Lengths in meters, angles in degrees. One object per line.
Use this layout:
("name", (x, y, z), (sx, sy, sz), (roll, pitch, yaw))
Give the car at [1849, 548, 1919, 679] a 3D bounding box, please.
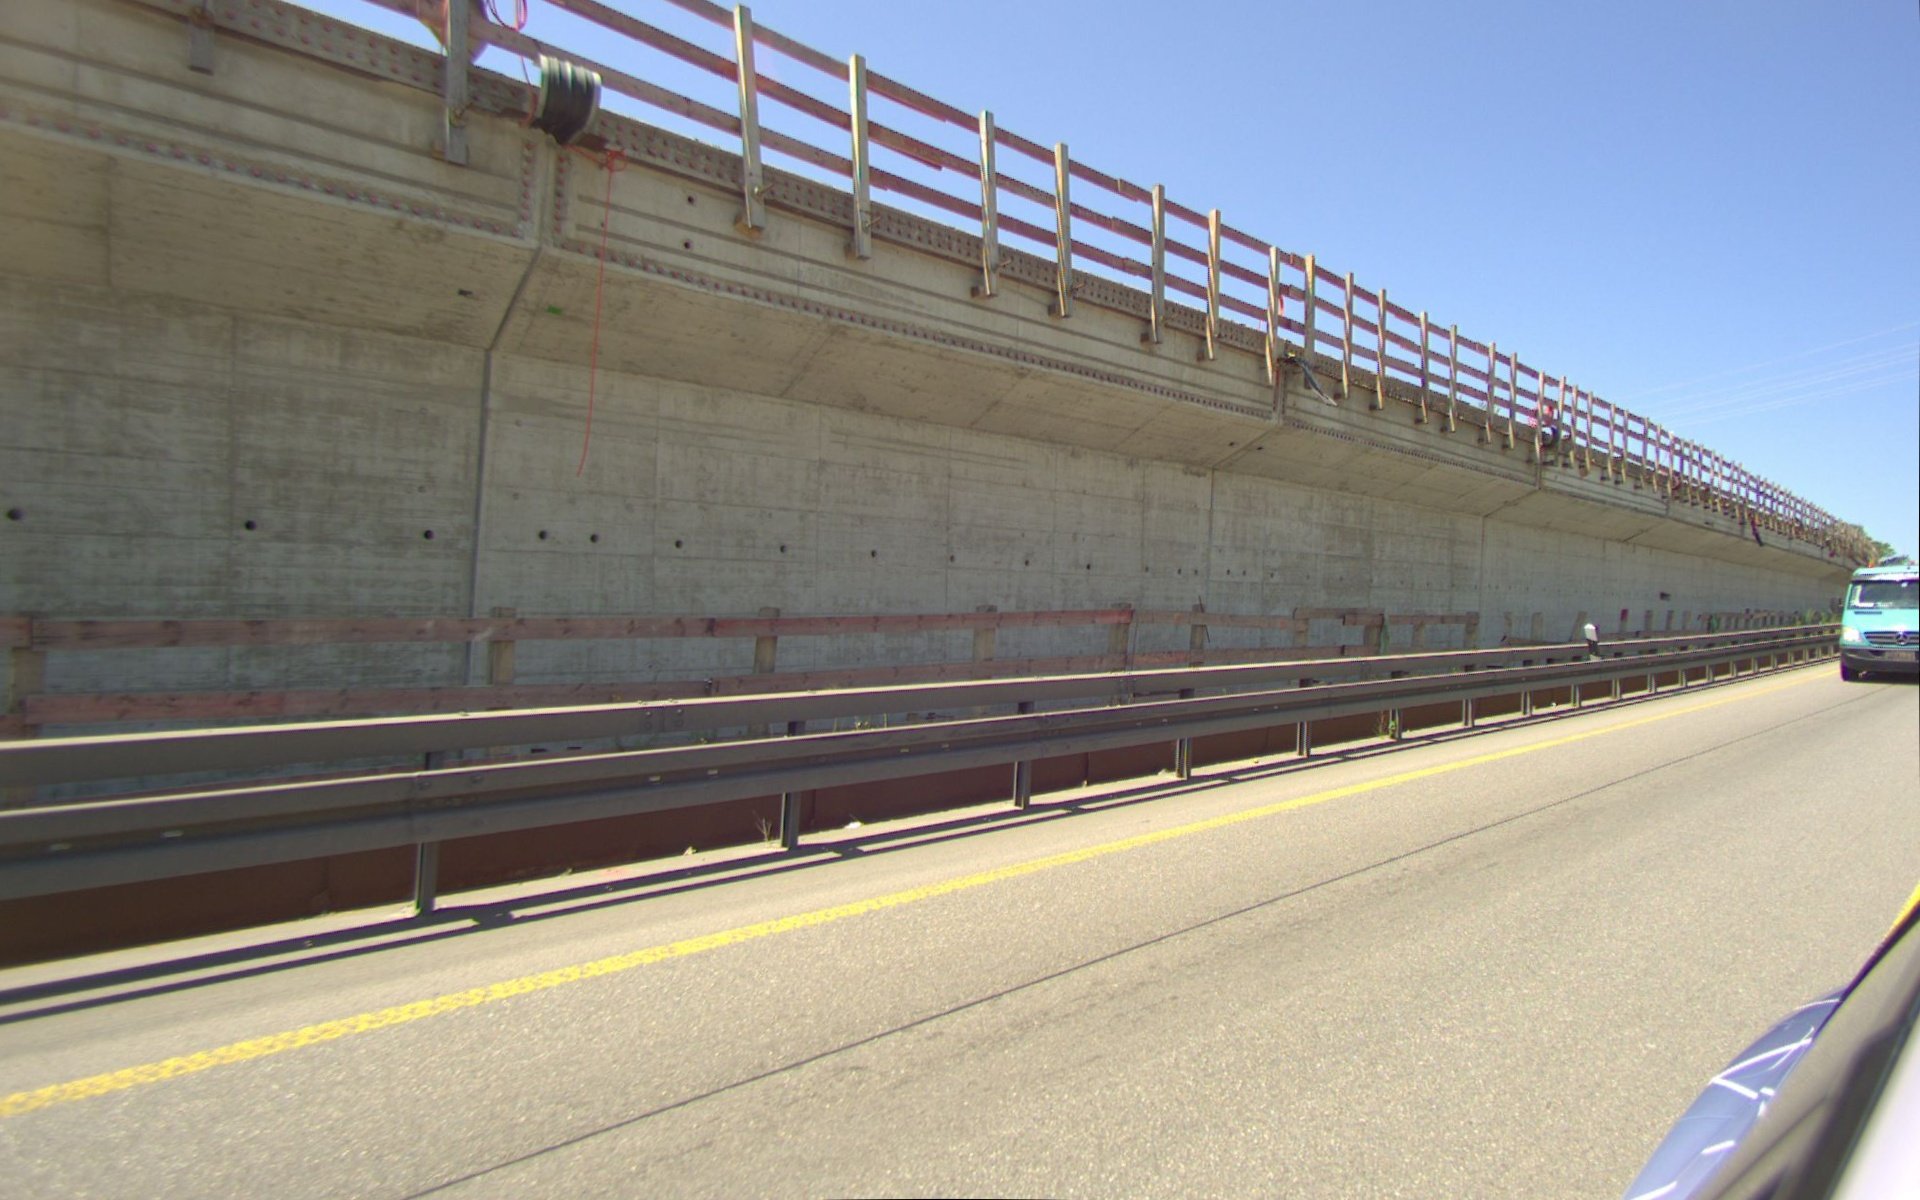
("car", (20.357, 0.243, 21.083), (7.087, 2.411, 1.966), (0, 0, -42))
